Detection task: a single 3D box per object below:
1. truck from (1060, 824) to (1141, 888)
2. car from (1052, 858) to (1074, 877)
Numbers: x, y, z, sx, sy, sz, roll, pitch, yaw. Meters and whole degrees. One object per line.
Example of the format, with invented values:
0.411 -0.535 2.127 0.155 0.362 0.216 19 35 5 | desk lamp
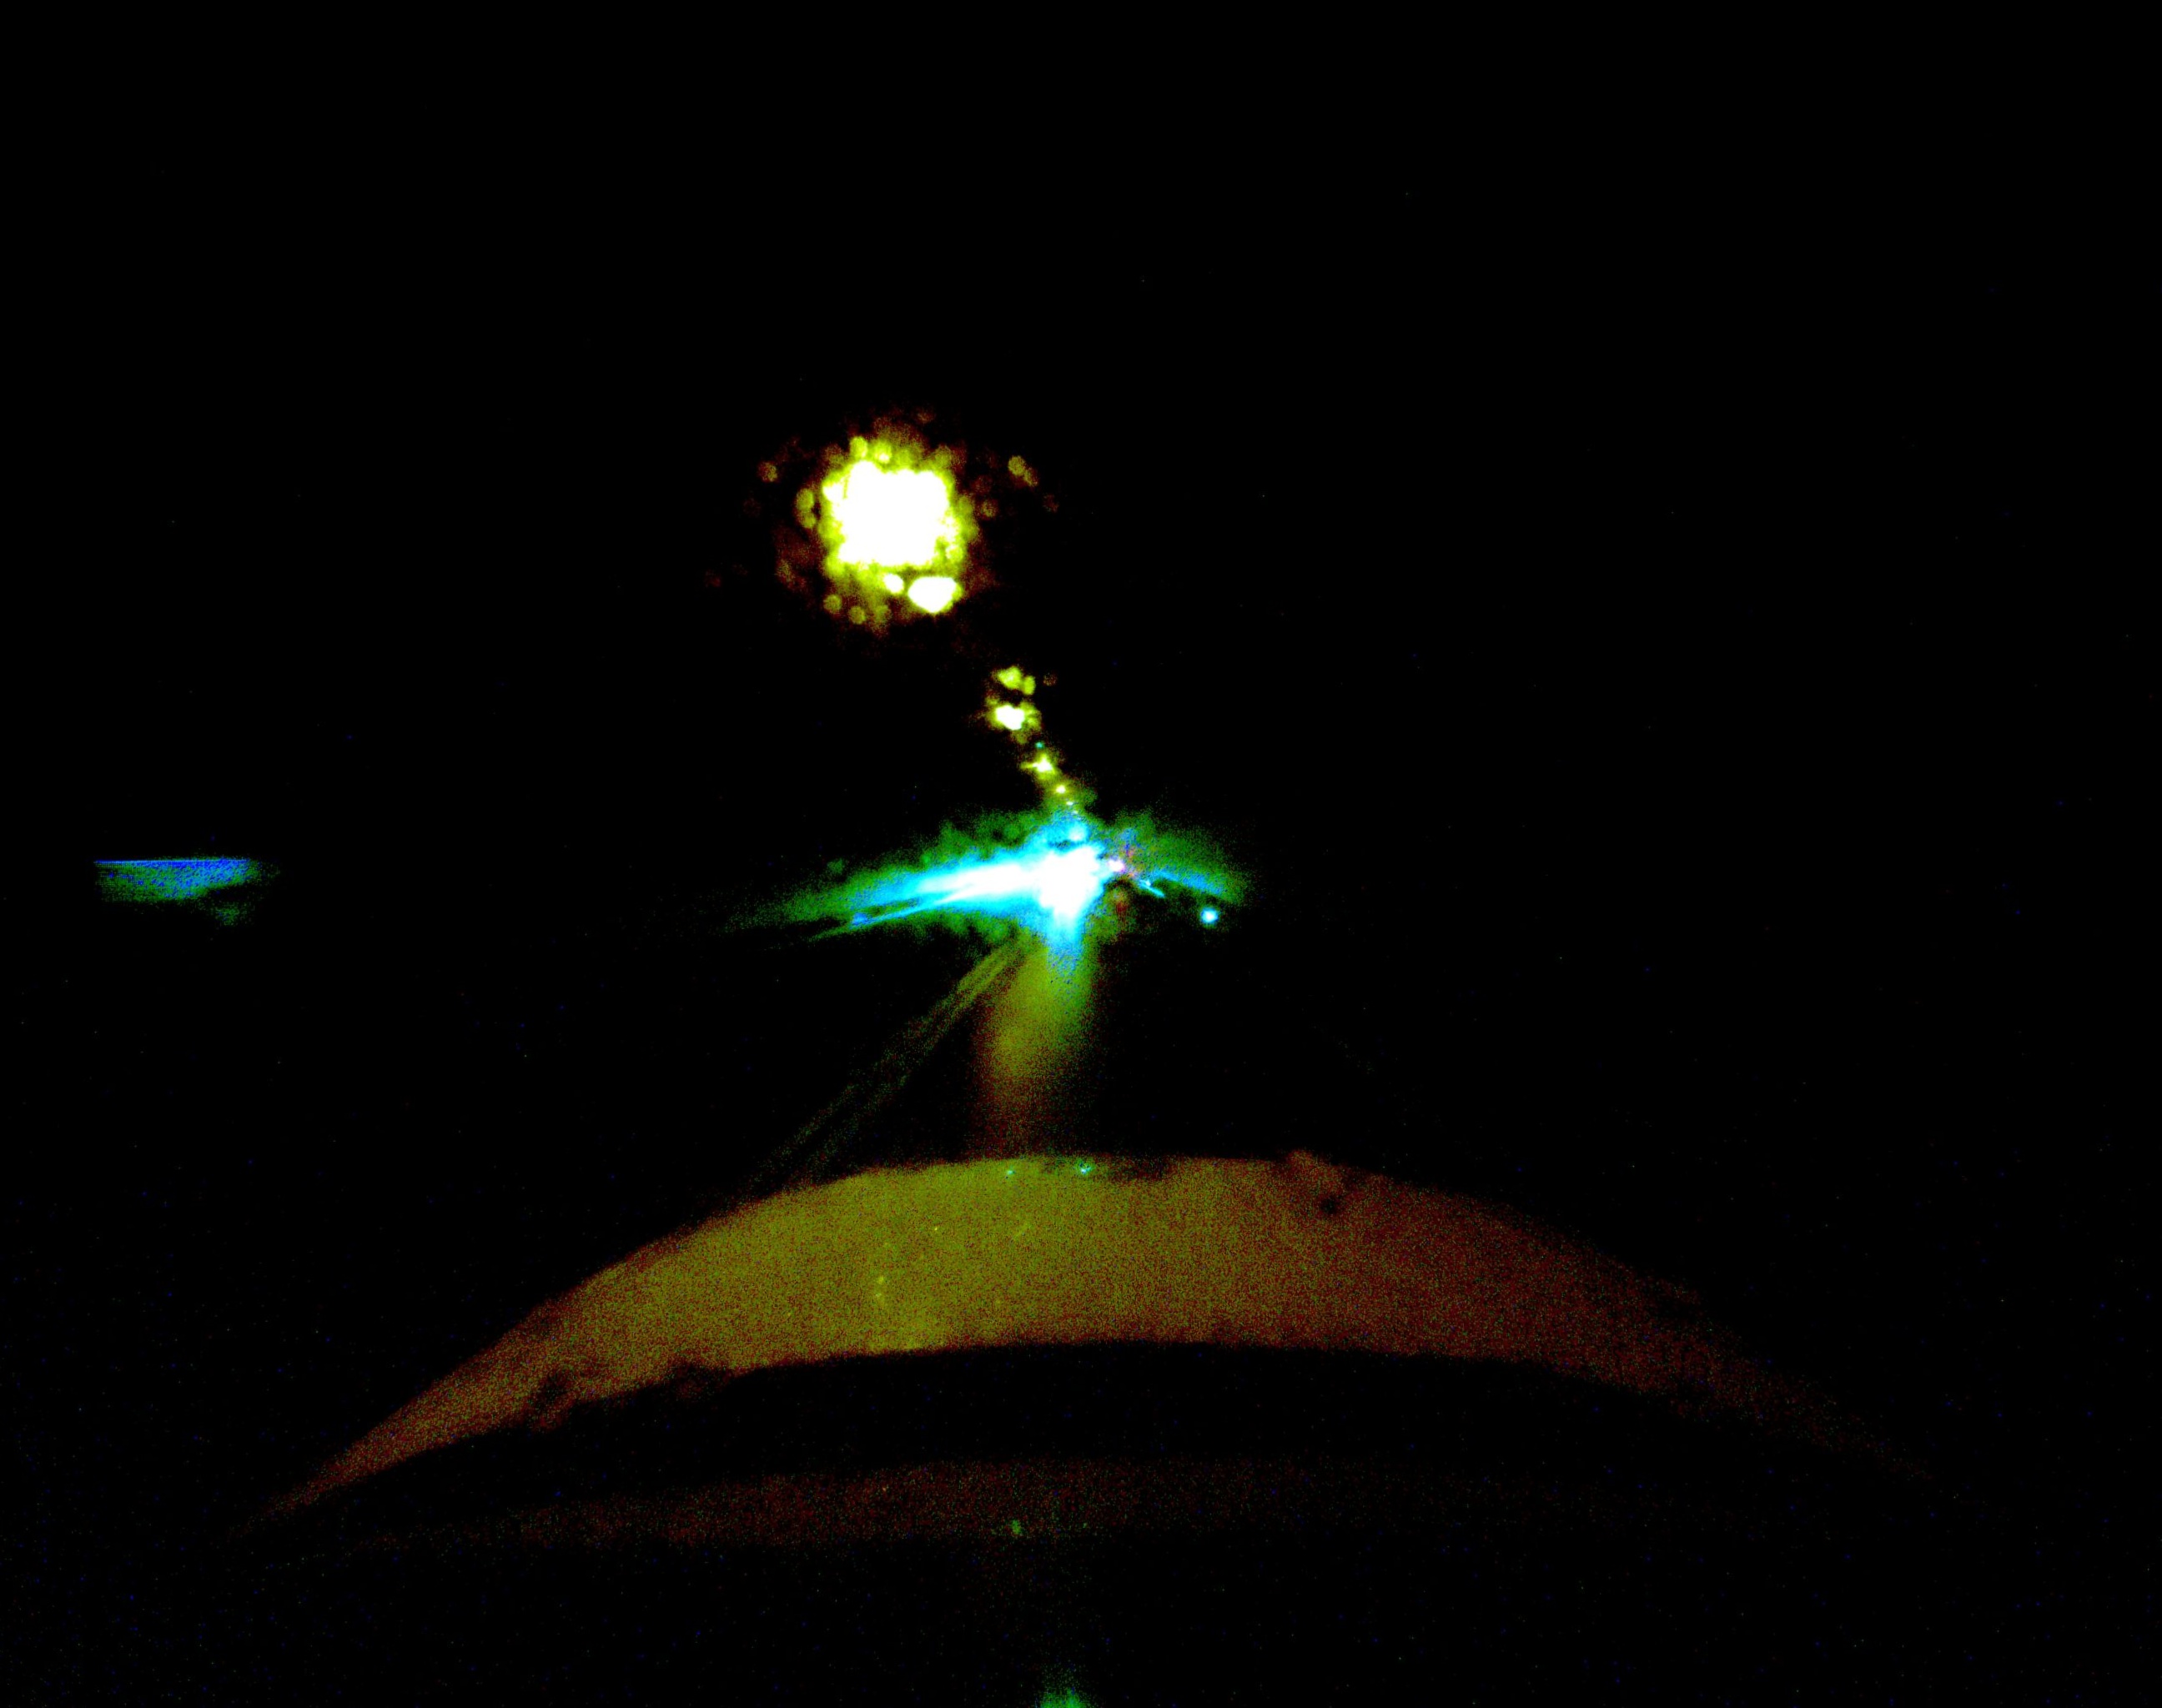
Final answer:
1.001 0.088 40.340 3.522 2.693 8.959 -2 0 2 | truck
-1.549 1.125 71.087 1.742 1.584 4.001 0 0 1 | car
